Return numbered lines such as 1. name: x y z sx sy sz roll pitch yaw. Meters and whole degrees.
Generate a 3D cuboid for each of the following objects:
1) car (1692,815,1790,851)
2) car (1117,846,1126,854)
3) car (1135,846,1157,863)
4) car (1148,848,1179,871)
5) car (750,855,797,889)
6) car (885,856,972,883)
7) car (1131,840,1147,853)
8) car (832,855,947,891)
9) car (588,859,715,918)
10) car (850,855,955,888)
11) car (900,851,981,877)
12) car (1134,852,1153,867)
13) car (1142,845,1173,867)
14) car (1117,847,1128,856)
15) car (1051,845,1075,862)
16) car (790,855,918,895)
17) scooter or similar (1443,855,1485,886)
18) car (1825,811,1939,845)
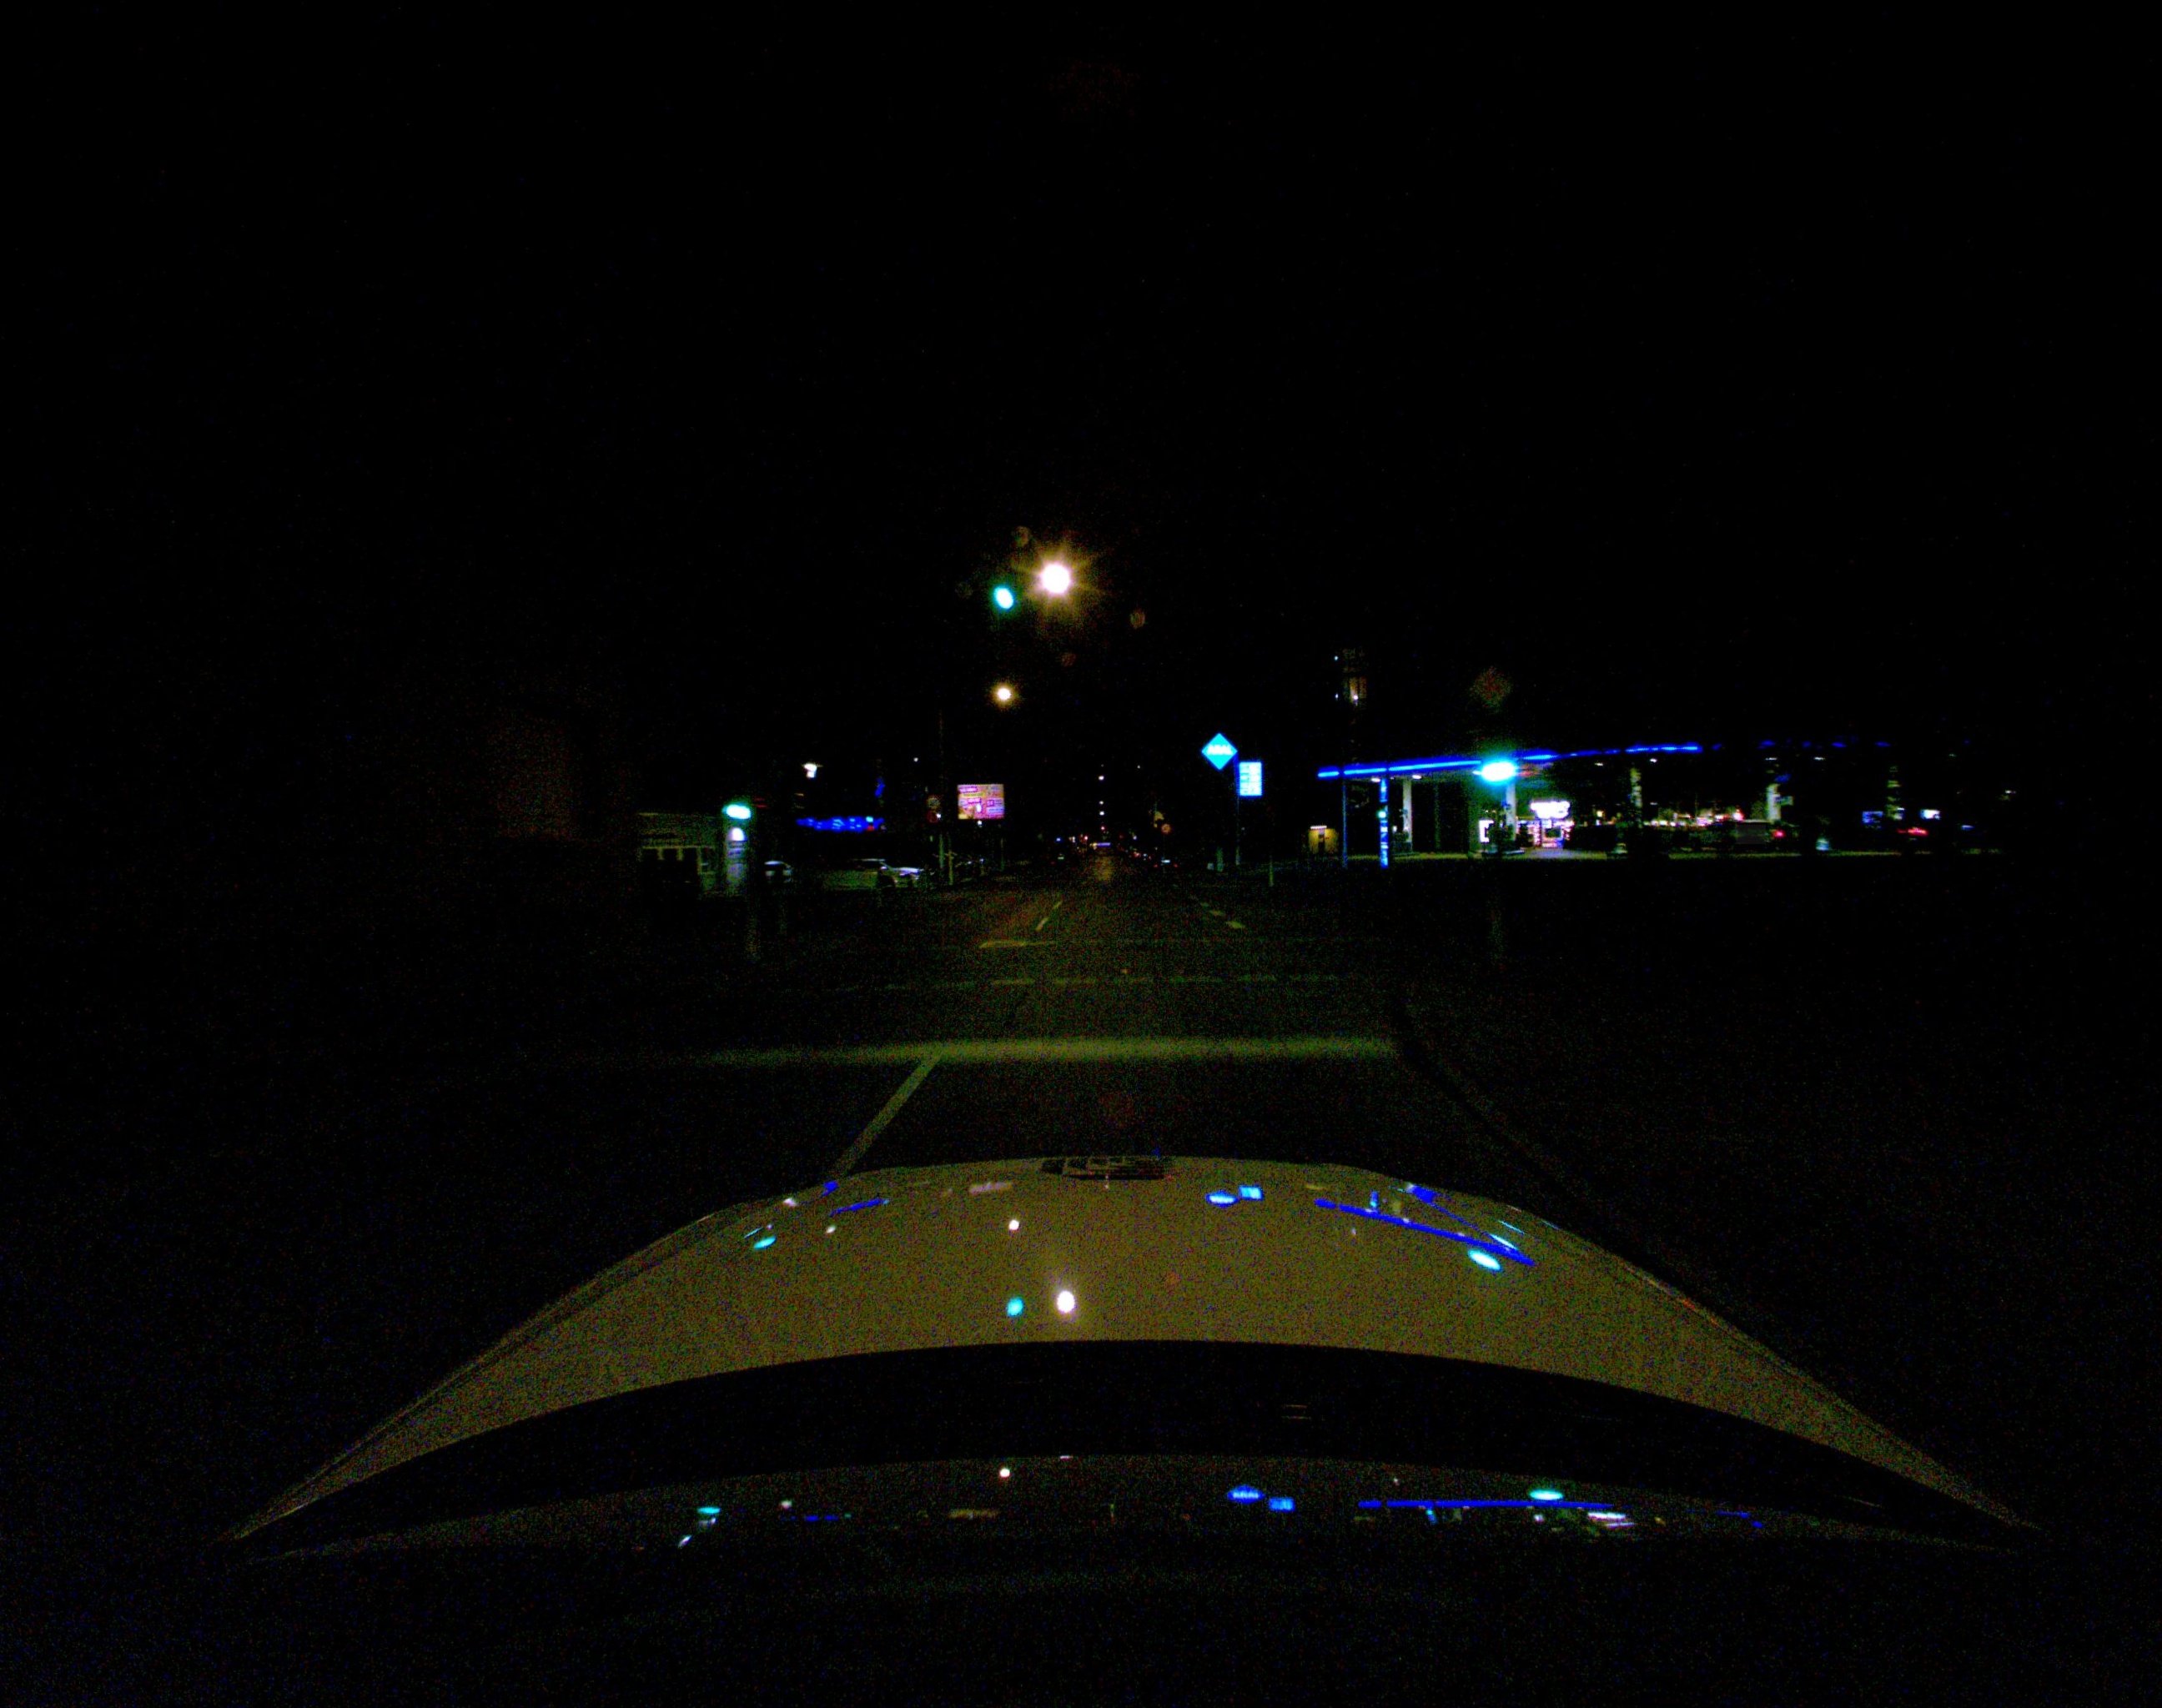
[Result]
1. car: 35.051 -1.173 43.418 1.984 1.768 4.258 -1 3 5
2. car: 8.698 -0.879 175.048 1.985 1.520 4.003 -1 0 3
3. car: 6.298 0.052 79.288 1.985 1.520 4.003 -1 0 3
4. car: 5.604 0.335 55.799 1.985 1.516 4.004 0 0 3
5. car: -17.256 1.004 45.631 2.005 1.775 3.964 -1 -1 -27
6. car: -8.535 0.856 45.832 4.423 1.449 2.000 -1 0 1
7. car: 7.276 -0.899 103.045 1.985 1.520 4.003 -1 0 3
8. car: -8.190 0.807 35.070 4.424 1.449 2.000 -1 0 0
9. car: -13.294 0.996 25.523 1.989 1.622 3.996 0 0 -3
10. car: -8.329 0.813 38.252 4.423 1.449 2.000 -1 0 1
11. car: -8.335 0.616 48.673 4.423 1.449 2.000 -1 0 1
12. car: 6.662 0.545 86.837 1.985 1.520 4.003 -1 0 3
13. car: 5.727 0.148 61.335 1.987 1.595 4.000 0 0 1
14. car: 7.678 -0.459 151.938 1.985 1.520 4.003 -1 0 3
15. car: -1.644 -0.061 74.517 1.986 1.502 4.002 -1 0 2
16. car: -8.865 0.791 32.094 4.423 1.449 2.000 -1 0 1
17. scooter or similar: 14.483 0.600 30.775 1.688 1.092 0.709 -3 1 -36
18. car: 41.373 -1.377 42.220 1.987 1.663 4.000 -1 3 -1
